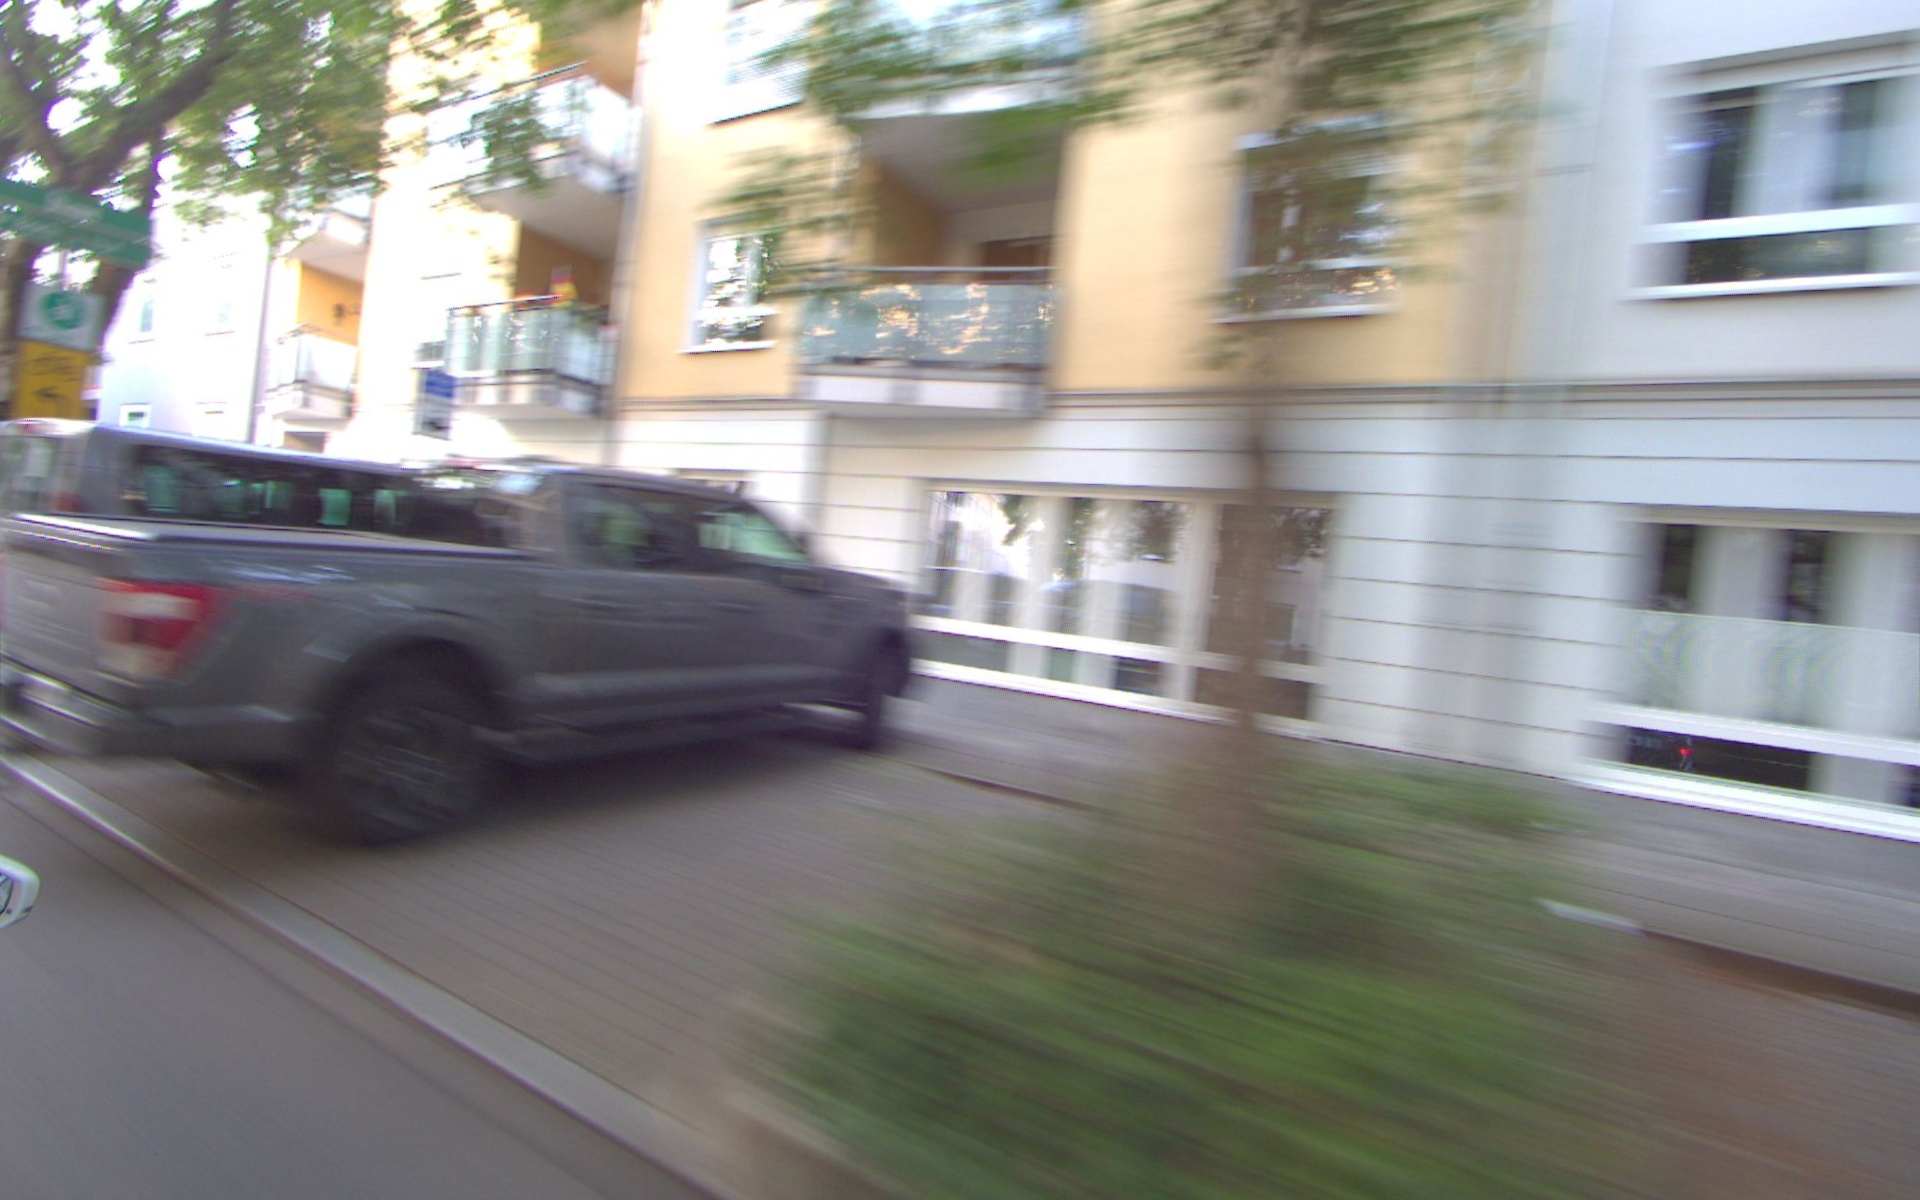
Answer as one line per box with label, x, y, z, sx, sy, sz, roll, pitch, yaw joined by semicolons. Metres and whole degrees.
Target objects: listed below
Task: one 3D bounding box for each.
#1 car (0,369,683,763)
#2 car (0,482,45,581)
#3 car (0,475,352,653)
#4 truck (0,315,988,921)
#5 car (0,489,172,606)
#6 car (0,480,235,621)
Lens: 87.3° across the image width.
car;-4.724;-0.245;7.985;2.003;2.162;4.617;7;3;33
car;-16.585;-1.228;15.483;1.718;1.546;3.350;7;2;33
car;-10.054;-0.423;11.611;1.805;1.725;4.803;7;-1;31
truck;-2.388;-0.005;6.700;2.224;2.163;6.000;7;4;33
car;-14.330;-0.889;14.444;1.838;1.526;4.291;7;-1;25
car;-12.264;-0.728;13.124;1.822;1.582;4.073;7;-1;31
